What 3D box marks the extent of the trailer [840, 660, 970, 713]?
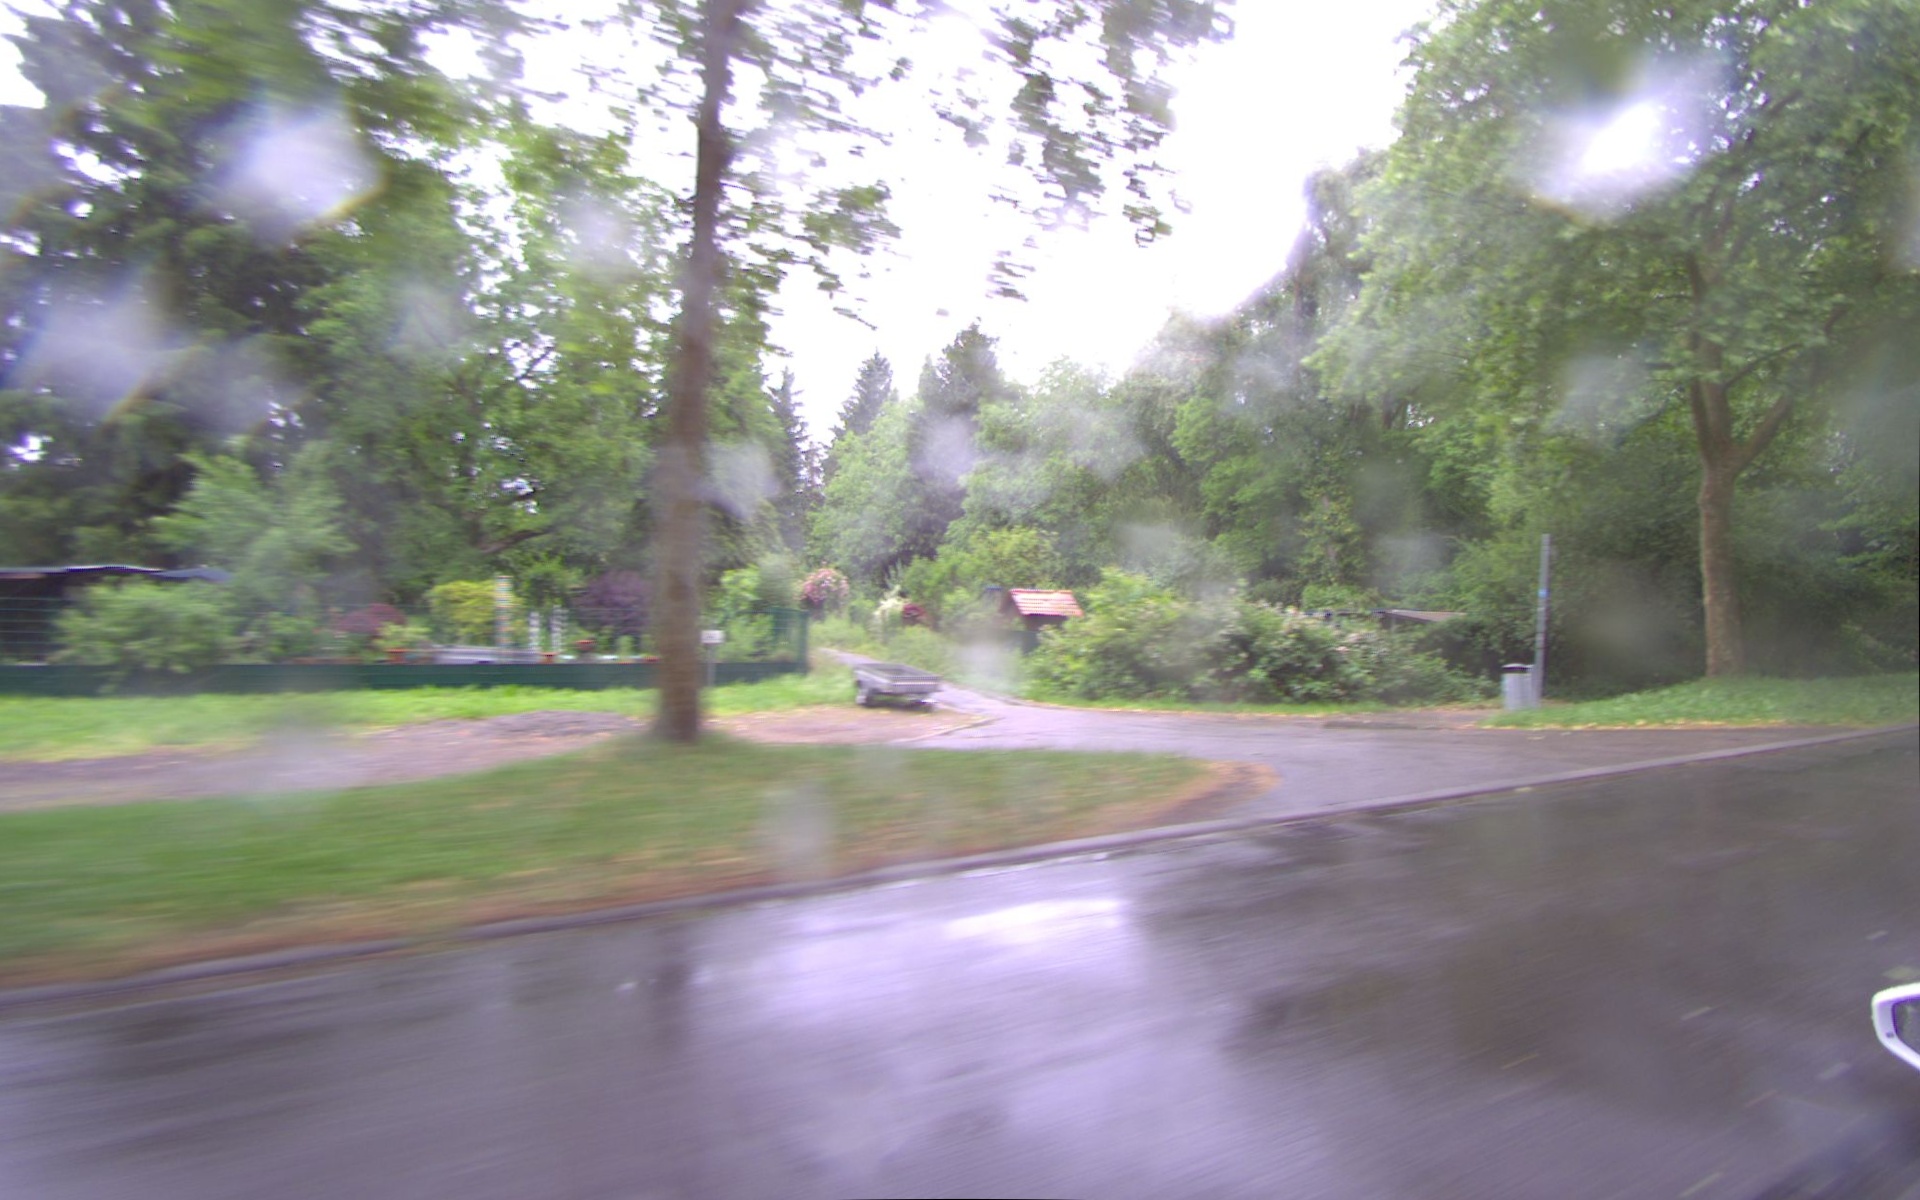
[{"bbox_3d":[-1.221,1.775,21.155,1.656,0.849,3.018,2,0,-26],"label":"trailer"}]
